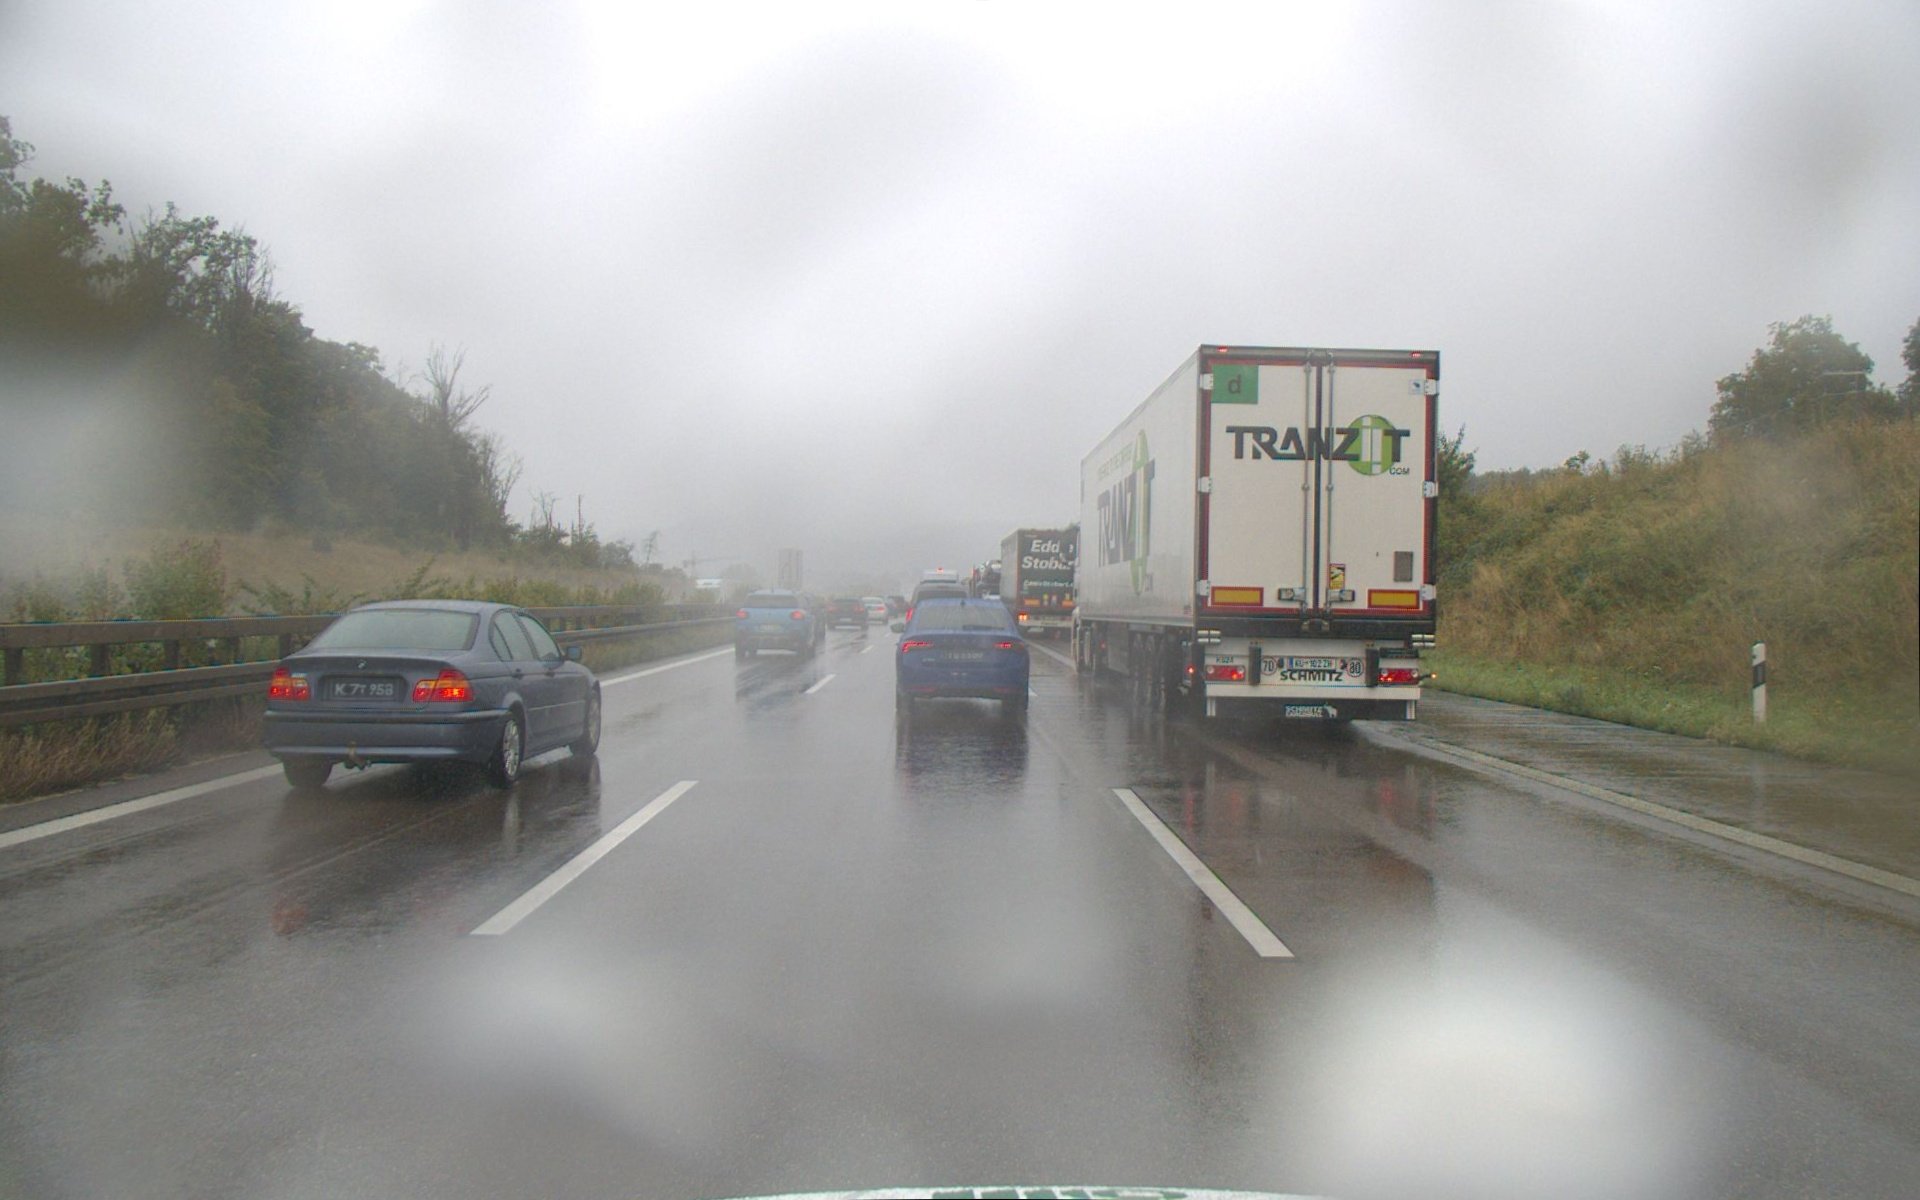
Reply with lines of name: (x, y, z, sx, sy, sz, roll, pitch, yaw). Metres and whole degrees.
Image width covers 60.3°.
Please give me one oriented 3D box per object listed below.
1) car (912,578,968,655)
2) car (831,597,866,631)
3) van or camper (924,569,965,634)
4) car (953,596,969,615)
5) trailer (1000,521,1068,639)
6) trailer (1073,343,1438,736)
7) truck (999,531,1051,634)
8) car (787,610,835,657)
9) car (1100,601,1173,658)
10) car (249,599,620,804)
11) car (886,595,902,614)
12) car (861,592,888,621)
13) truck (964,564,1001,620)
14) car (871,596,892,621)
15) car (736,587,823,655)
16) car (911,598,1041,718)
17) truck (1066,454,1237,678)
car: (-0.497, 0.383, 40.931, 1.309, 1.811, 3.321, 0, 0, -1)
car: (-4.942, 0.611, 73.629, 1.410, 1.445, 3.321, 0, 0, -1)
van or camper: (-0.706, 0.055, 74.837, 1.761, 2.855, 4.767, 0, 0, -1)
car: (0.044, 0.508, 155.232, 1.419, 1.815, 3.408, 1, 0, -1)
trailer: (2.815, -0.736, 65.476, 2.005, 4.250, 11.446, 0, 0, -1)
trailer: (3.588, -0.666, 24.568, 2.577, 4.083, 14.626, 0, 0, -1)
truck: (2.751, -0.735, 71.132, 2.005, 4.266, 3.999, 0, 0, -1)
car: (-4.895, 1.094, 54.541, 1.331, 1.456, 3.363, 0, 0, -1)
car: (4.333, 0.697, 40.946, 1.395, 1.310, 3.460, 0, 0, -1)
car: (-4.121, 0.714, 13.713, 1.682, 1.424, 4.230, 0, 0, 0)
car: (-6.348, 0.430, 159.172, 1.419, 1.815, 3.408, 1, 0, -1)
car: (-4.711, 0.349, 91.379, 1.410, 1.560, 3.321, 0, 0, -1)
truck: (1.422, -0.555, 106.697, 1.953, 3.481, 8.029, 0, 1, -2)
car: (-5.966, 0.642, 126.073, 1.419, 1.815, 3.408, 1, 0, -1)
car: (-4.344, 0.491, 40.283, 1.686, 1.550, 4.000, 0, 0, 0)
car: (0.191, 0.719, 22.390, 1.602, 1.470, 4.000, 0, 0, 0)
truck: (3.491, -0.601, 31.234, 2.577, 3.894, 4.790, 0, 0, -1)
